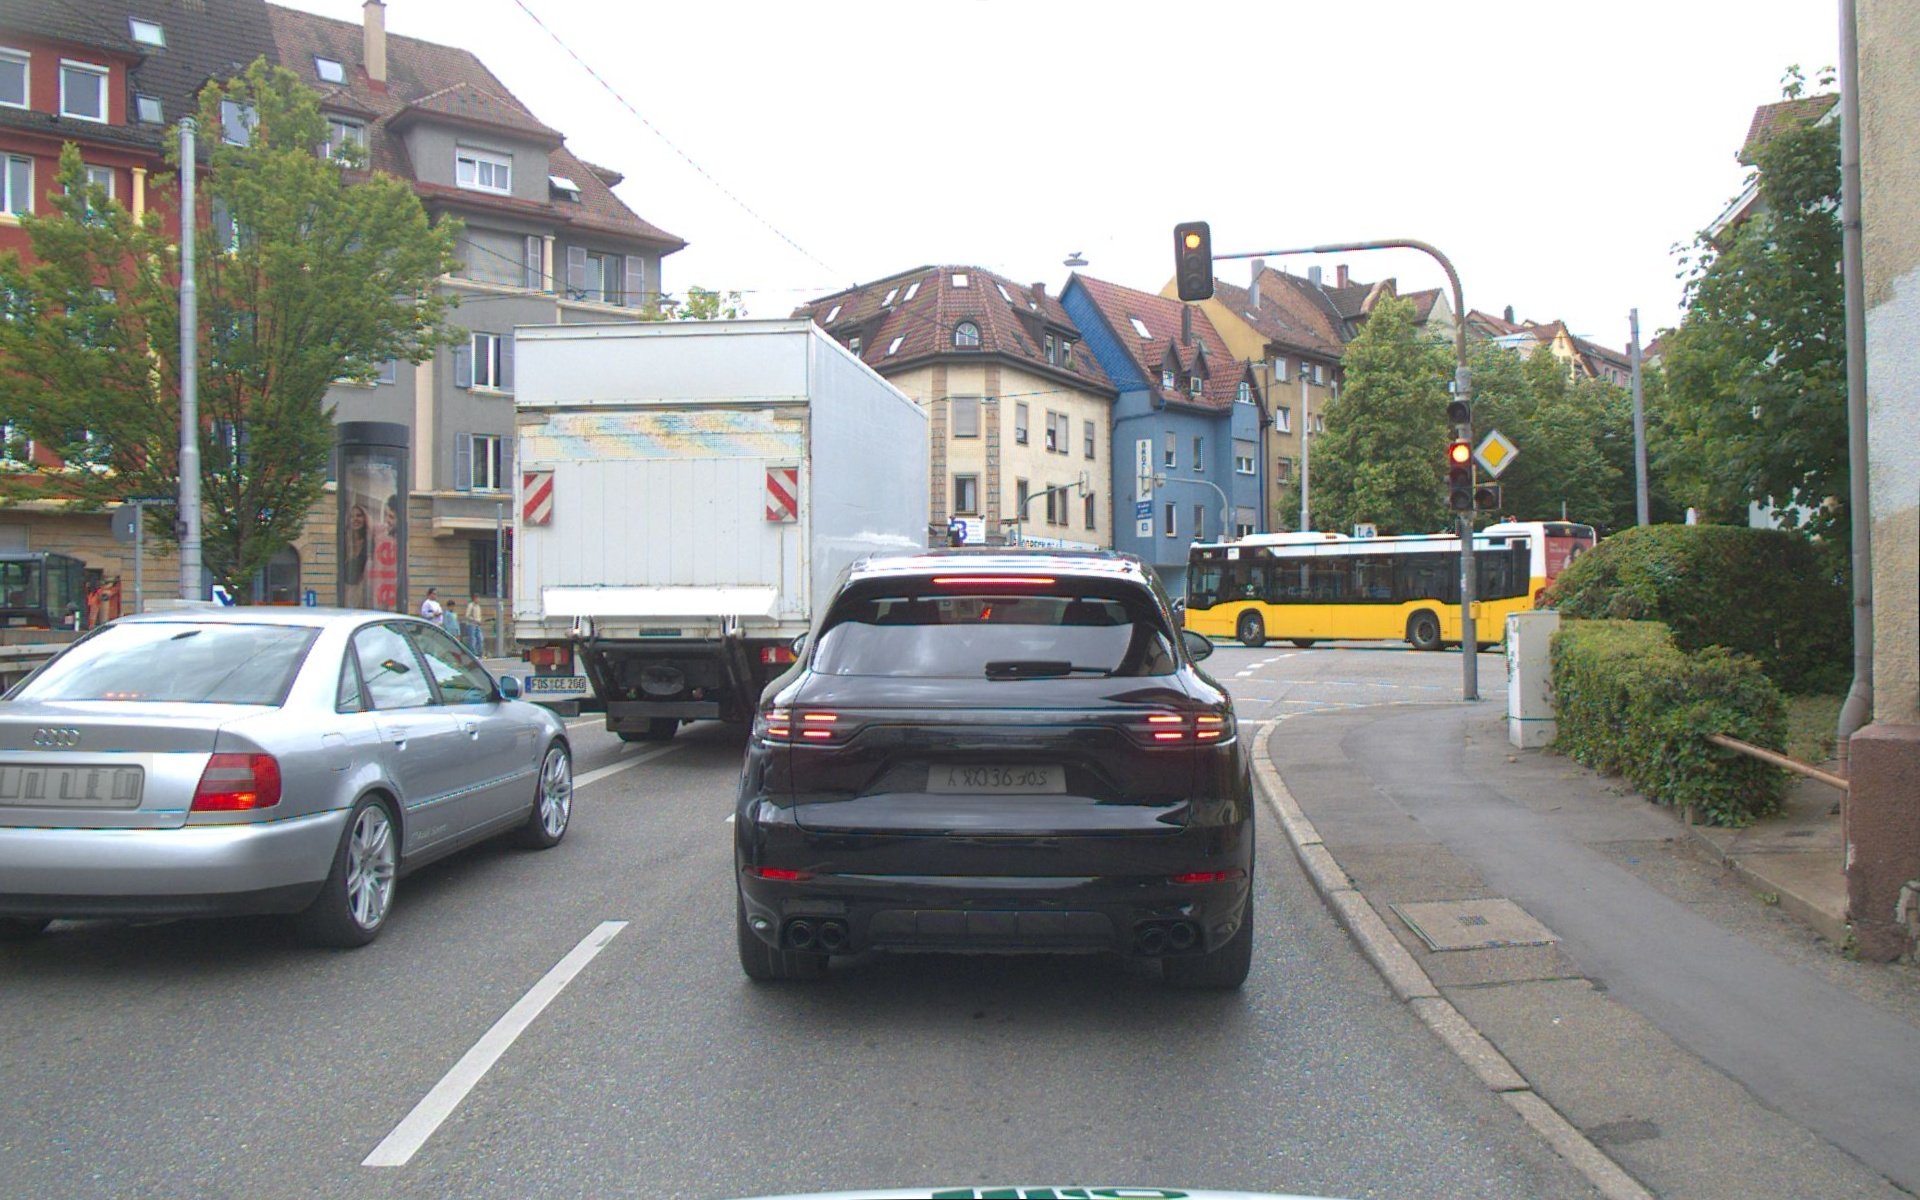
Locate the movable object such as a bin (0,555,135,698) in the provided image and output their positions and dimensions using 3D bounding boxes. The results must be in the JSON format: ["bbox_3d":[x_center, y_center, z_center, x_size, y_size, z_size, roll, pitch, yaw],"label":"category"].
[{"bbox_3d":[-13.944,0.380,25.477,1.351,2.049,3.525,-1,0,-12],"label":"movable object such as a bin"}]

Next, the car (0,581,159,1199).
[{"bbox_3d":[-2.702,0.716,1.177,1.953,1.454,4.841,-1,0,-1],"label":"car"}]

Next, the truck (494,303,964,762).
[{"bbox_3d":[-1.856,-0.542,17.332,2.667,3.606,8.428,-1,0,8],"label":"truck"}]

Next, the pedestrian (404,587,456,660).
[{"bbox_3d":[-11.567,0.514,36.085,0.776,1.573,0.738,-1,0,26],"label":"pedestrian"}]

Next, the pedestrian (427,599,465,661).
[{"bbox_3d":[-11.463,0.656,36.874,0.566,1.361,0.581,-1,0,42],"label":"pedestrian"}]

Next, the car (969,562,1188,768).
[{"bbox_3d":[1.171,0.516,14.786,1.613,1.583,3.586,1,0,9],"label":"car"}]

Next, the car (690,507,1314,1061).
[{"bbox_3d":[0.211,0.579,7.599,1.989,1.753,4.501,1,0,2],"label":"car"}]

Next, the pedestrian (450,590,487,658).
[{"bbox_3d":[-11.102,0.544,37.373,0.648,1.513,0.515,-1,0,-43],"label":"pedestrian"}]

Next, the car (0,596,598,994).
[{"bbox_3d":[-3.106,0.696,7.951,1.594,1.389,4.130,-1,0,3],"label":"car"}]

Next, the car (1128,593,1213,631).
[{"bbox_3d":[9.105,0.549,71.251,1.690,1.502,4.197,0,-2,39],"label":"car"}]

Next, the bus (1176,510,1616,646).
[{"bbox_3d":[11.135,-0.422,44.194,3.134,3.150,11.987,-1,-1,-37],"label":"bus"}]
